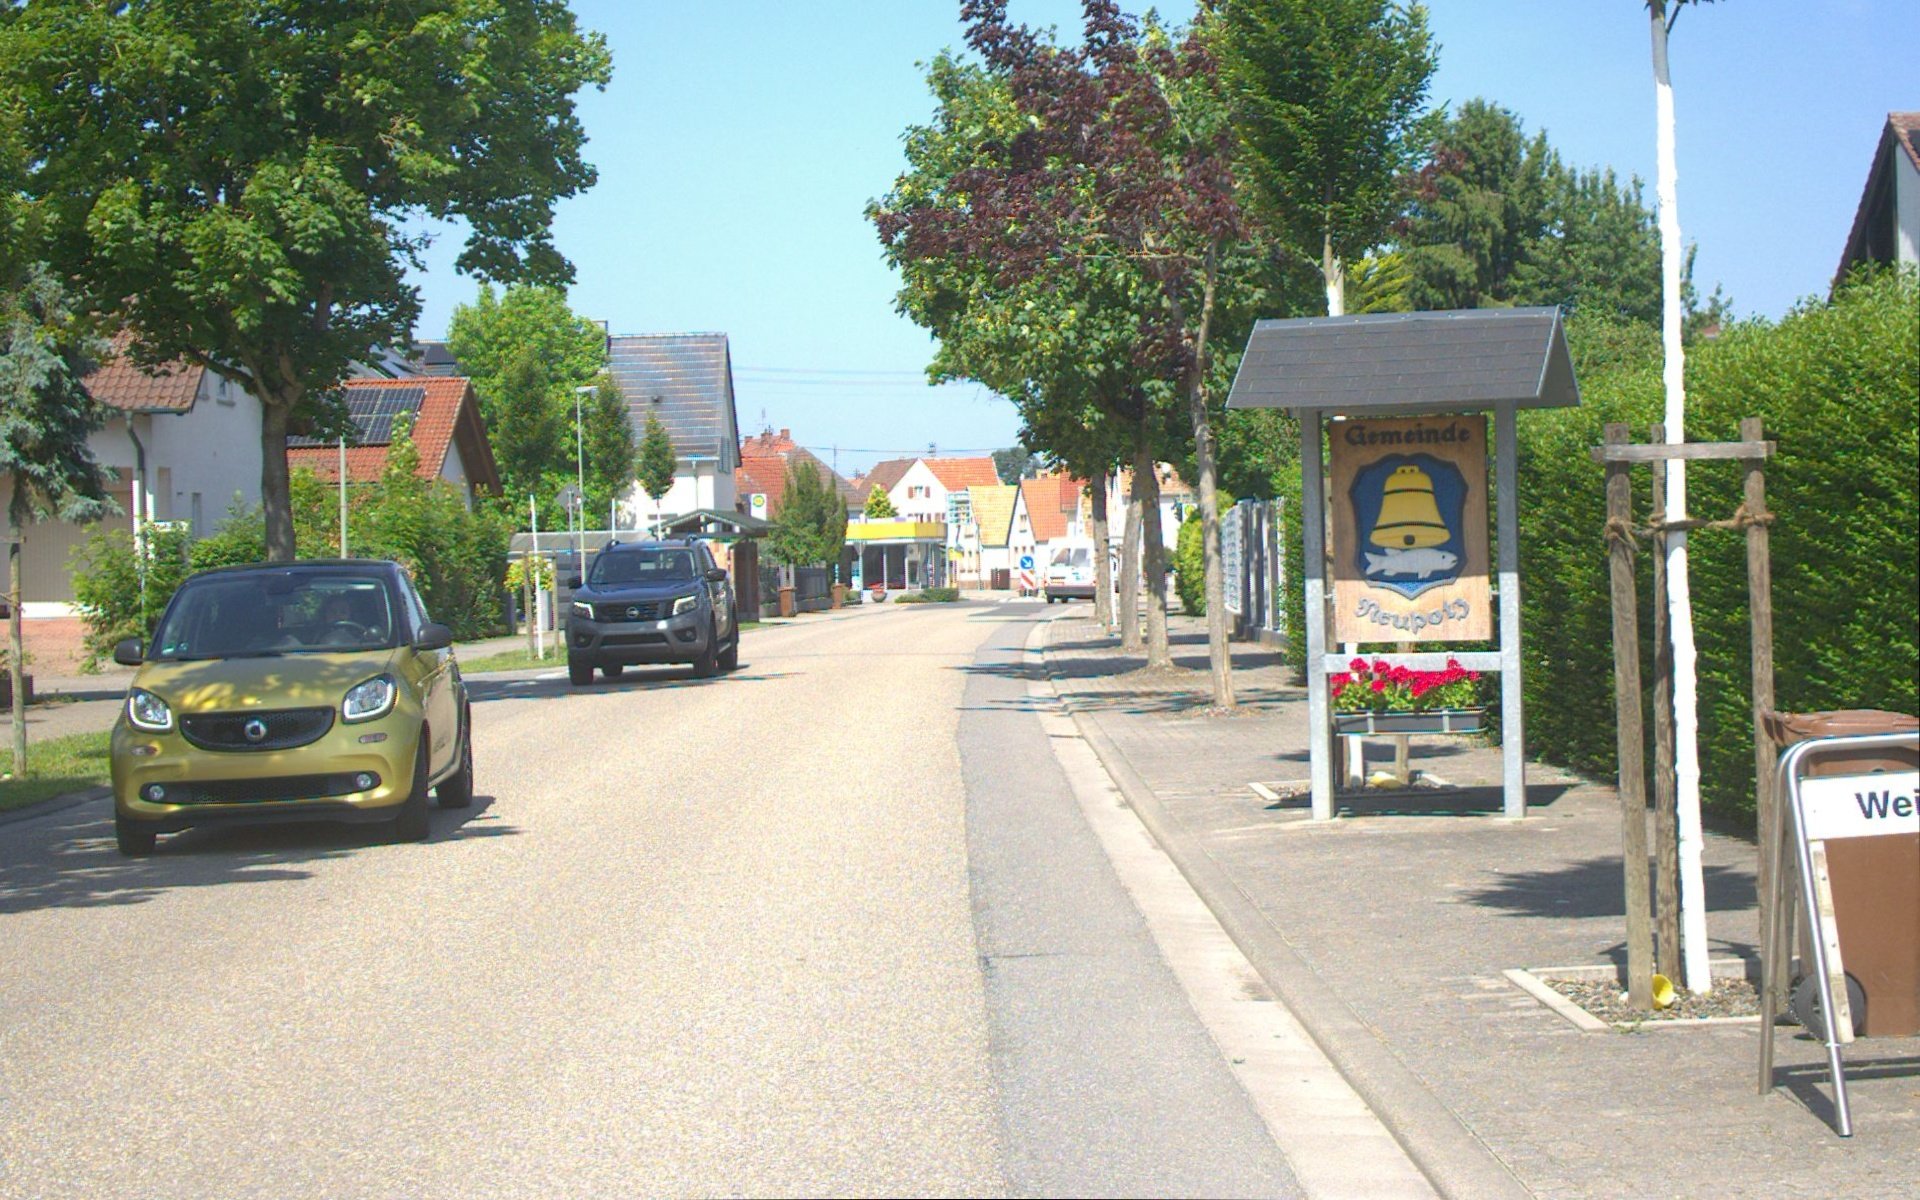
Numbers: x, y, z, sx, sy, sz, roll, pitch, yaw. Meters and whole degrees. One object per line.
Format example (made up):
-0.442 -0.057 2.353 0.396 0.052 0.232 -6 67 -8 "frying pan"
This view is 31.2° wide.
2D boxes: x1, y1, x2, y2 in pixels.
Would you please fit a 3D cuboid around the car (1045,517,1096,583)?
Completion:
4.235 -1.923 131.123 1.738 2.424 4.374 -2 1 3 "car"

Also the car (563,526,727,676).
-4.016 -0.021 44.336 1.835 1.747 3.796 -3 1 -3 "car"

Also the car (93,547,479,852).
-3.744 0.498 19.612 1.665 1.519 3.443 -2 1 -4 "car"
